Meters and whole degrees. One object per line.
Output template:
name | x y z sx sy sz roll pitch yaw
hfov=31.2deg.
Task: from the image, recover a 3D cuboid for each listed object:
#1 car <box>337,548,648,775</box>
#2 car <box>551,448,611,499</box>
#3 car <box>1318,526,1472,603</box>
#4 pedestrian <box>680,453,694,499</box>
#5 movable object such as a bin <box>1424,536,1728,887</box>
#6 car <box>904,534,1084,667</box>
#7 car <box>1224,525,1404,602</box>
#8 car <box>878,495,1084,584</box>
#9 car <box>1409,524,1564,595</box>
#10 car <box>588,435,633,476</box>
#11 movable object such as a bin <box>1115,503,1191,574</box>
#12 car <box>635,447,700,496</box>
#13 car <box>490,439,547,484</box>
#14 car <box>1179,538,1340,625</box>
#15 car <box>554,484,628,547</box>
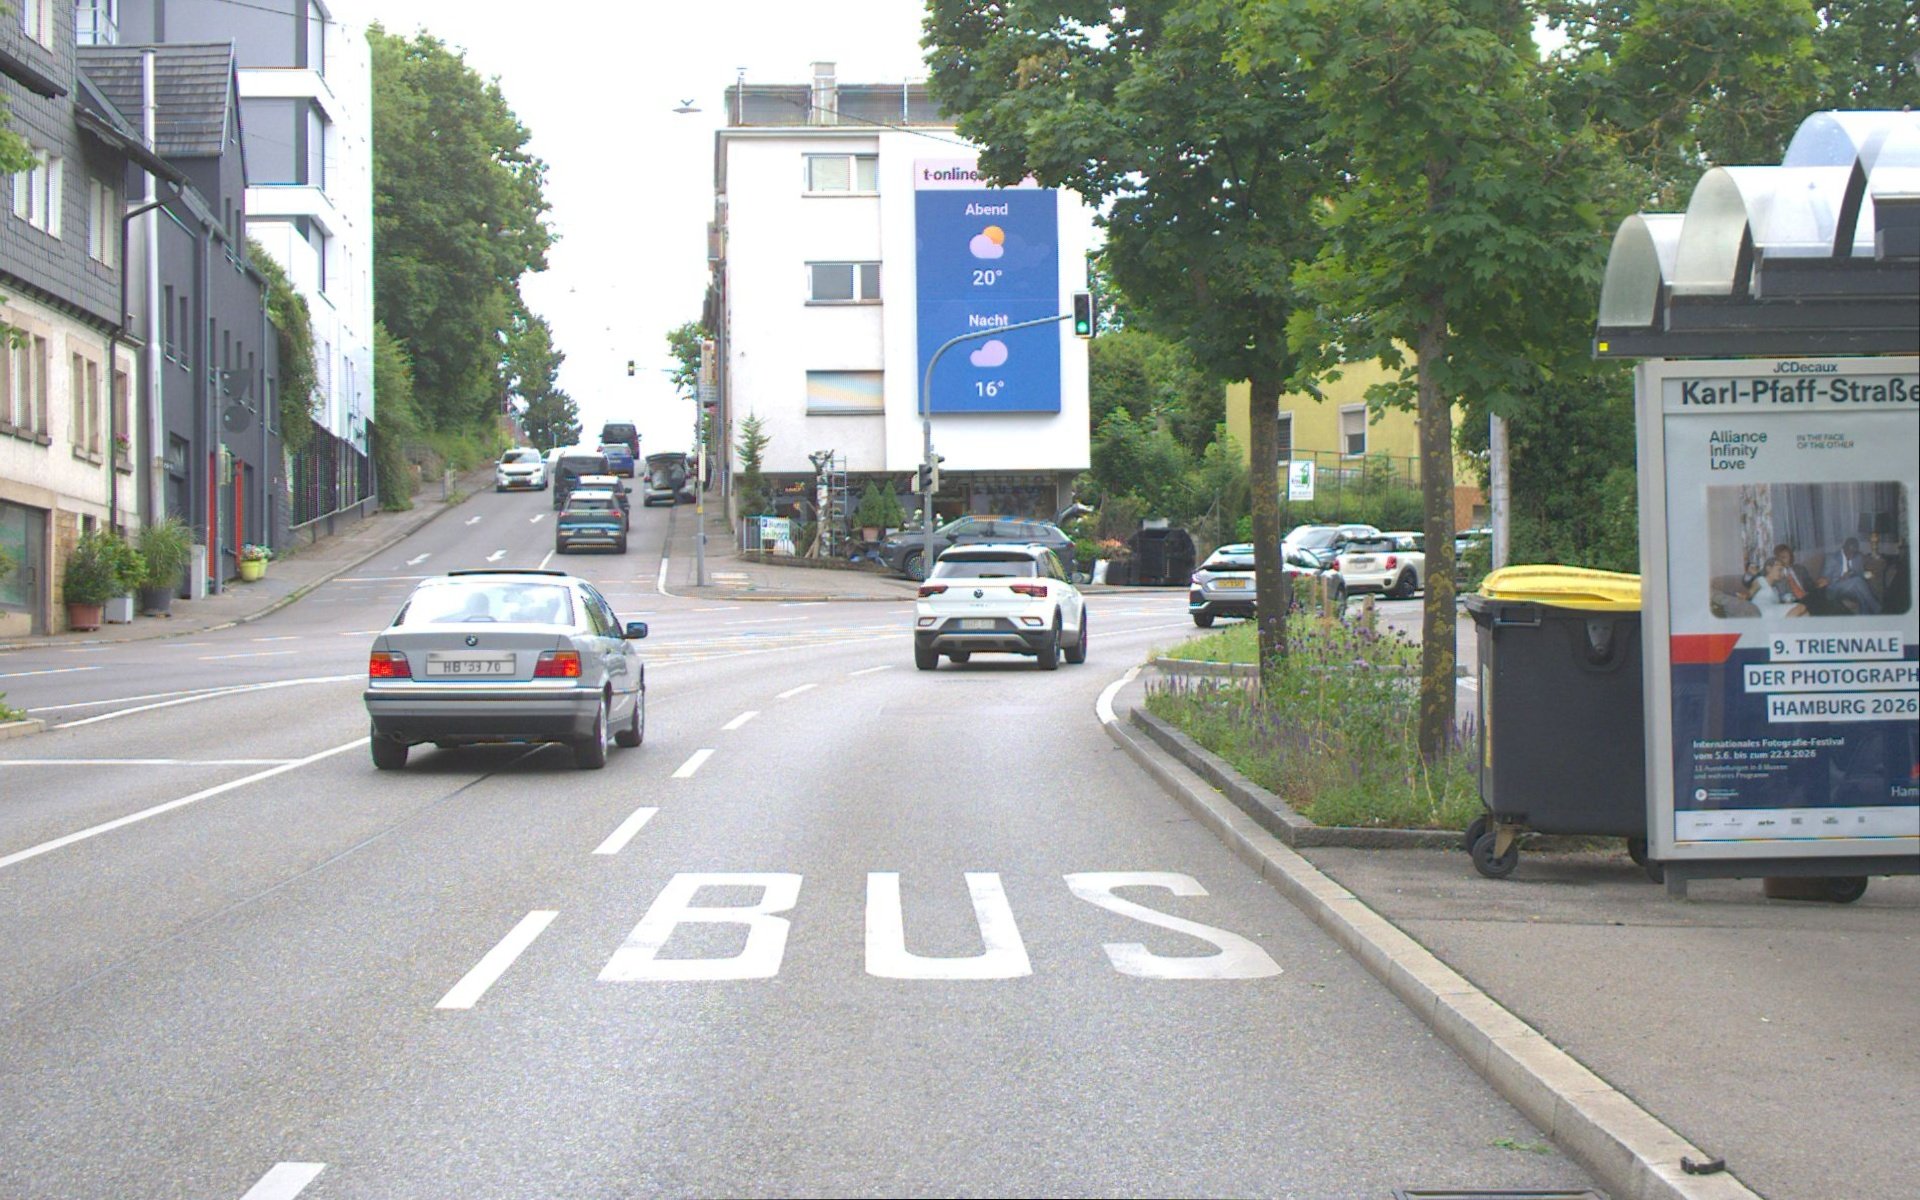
car | -3.341 0.385 25.212 1.706 1.459 4.000 0 2 0
car | -12.581 -4.175 114.252 1.779 1.573 4.001 -2 1 -4
car | 9.291 -0.788 73.257 1.783 1.573 3.993 1 2 31
pedestrian | -9.195 -4.175 115.771 0.458 1.524 0.527 0 0 -3
movable object such as a bin | 2.710 0.457 15.311 1.085 1.476 1.537 0 1 0
car | 0.479 -0.034 43.451 1.780 1.573 3.999 0 1 8
car | 8.056 -0.848 78.007 1.900 1.689 4.337 0 1 41
car | 0.475 -1.463 82.701 4.687 1.706 2.319 4 4 -4
car | 10.842 -0.852 70.619 1.797 1.405 3.993 1 2 30
car | -14.671 -6.073 144.542 1.779 1.574 4.001 0 0 -4
movable object such as a bin | 4.917 -1.577 87.431 1.763 1.773 1.854 0 1 9
car | -9.939 -4.369 117.180 2.089 1.607 4.001 0 1 -3
car | -16.710 -5.268 130.229 1.882 1.562 4.391 -1 4 -5
car | 5.244 -0.348 59.726 1.782 1.405 3.996 1 2 20
car | -9.576 -2.202 89.439 1.779 1.573 4.001 0 2 -4
